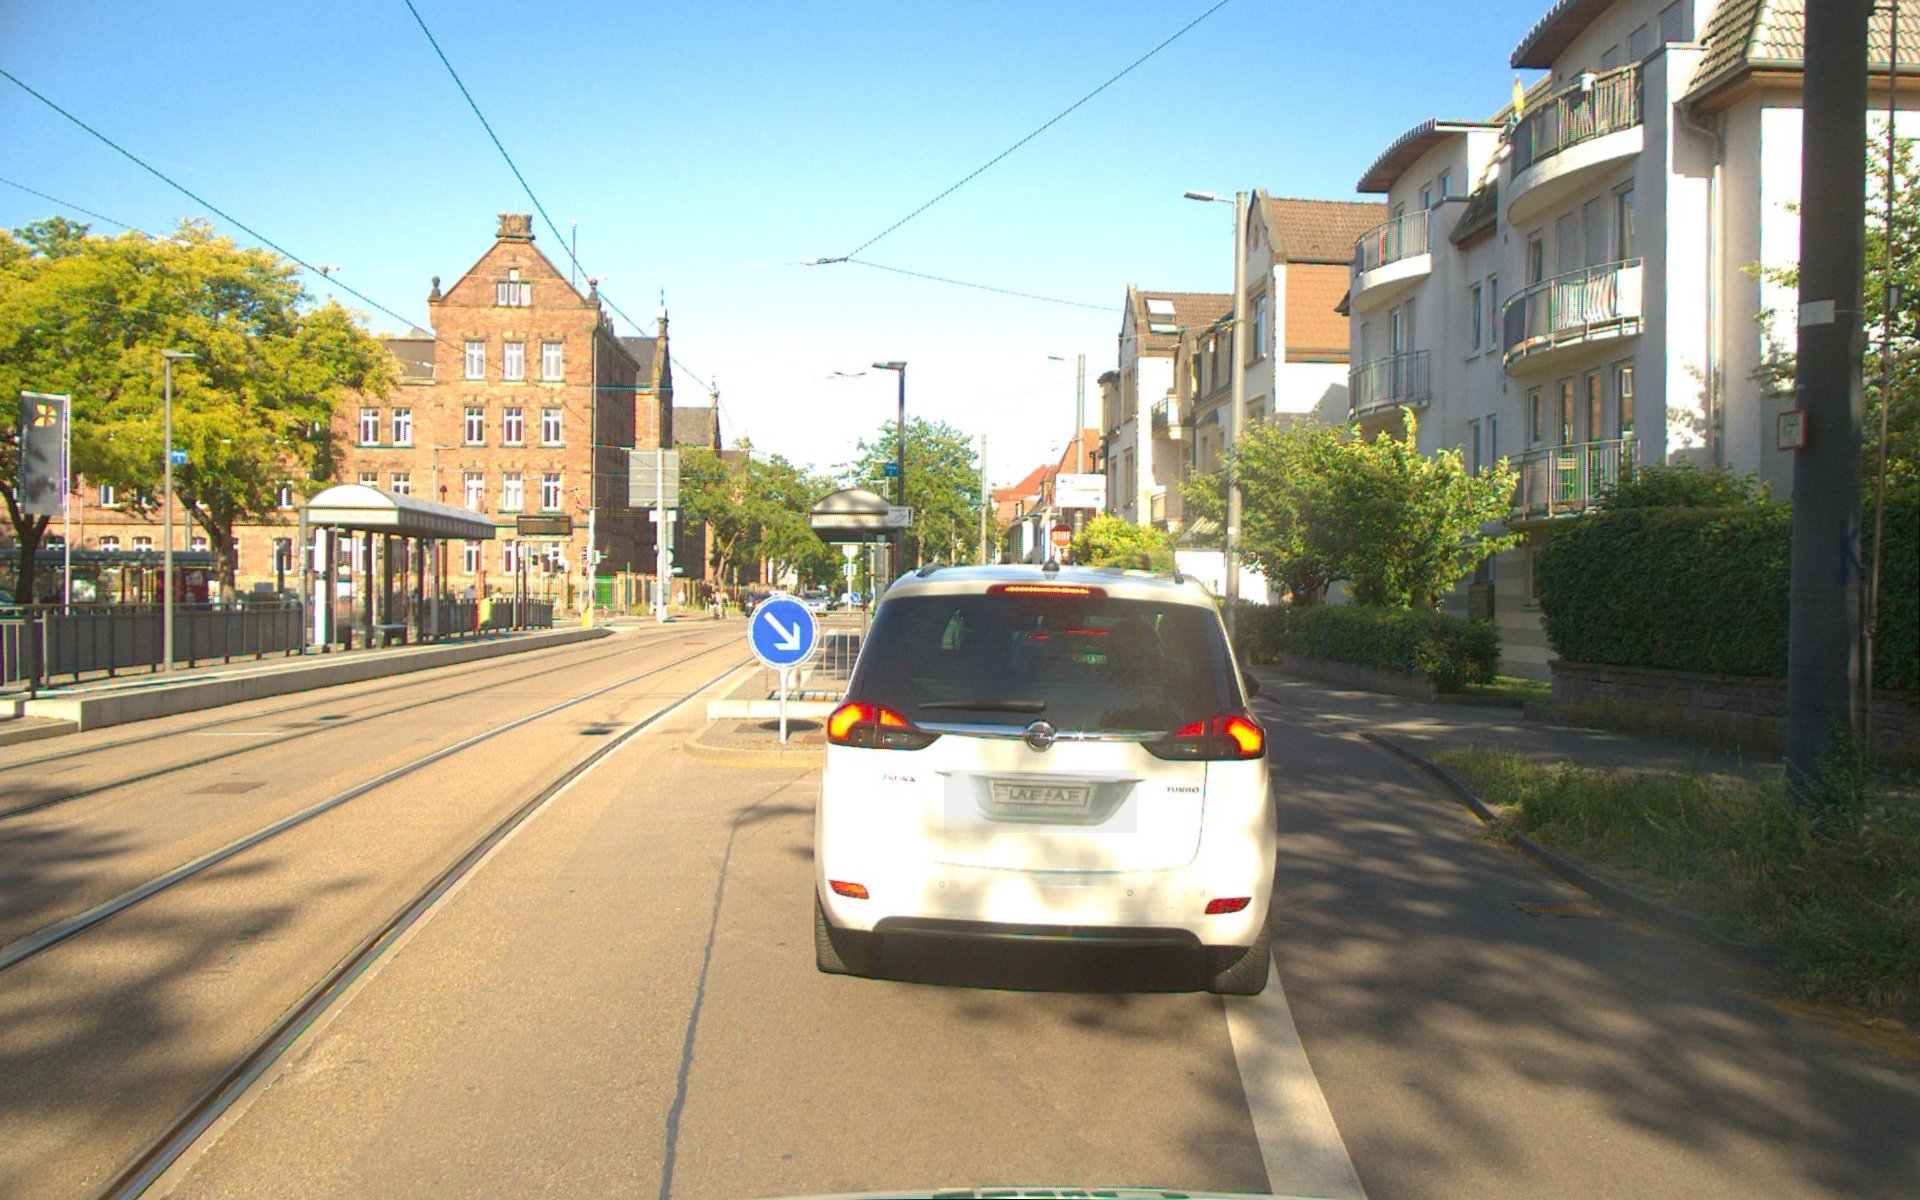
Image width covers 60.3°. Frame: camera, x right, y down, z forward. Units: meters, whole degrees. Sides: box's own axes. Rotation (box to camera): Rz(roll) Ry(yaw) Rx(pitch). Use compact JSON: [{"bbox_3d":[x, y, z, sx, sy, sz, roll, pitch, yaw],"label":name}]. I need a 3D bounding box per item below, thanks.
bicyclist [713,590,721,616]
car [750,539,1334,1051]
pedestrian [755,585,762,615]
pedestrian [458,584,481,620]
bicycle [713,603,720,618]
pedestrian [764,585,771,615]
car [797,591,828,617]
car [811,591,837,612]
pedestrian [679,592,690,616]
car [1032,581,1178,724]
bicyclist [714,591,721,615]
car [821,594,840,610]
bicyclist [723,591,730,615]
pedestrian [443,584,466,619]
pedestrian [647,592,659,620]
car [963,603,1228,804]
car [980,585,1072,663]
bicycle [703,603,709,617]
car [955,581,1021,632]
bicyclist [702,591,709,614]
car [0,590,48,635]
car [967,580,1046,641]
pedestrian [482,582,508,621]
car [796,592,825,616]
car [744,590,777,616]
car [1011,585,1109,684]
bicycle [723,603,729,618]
[{"bbox_3d":[-15.154,0.180,103.048,0.435,1.580,0.742,0,0,-4],"label":"bicyclist"},{"bbox_3d":[0.458,0.653,7.597,1.951,1.673,3.996,1,0,6],"label":"car"},{"bbox_3d":[-13.648,0.009,111.757,0.435,2.049,0.495,0,0,-4],"label":"pedestrian"},{"bbox_3d":[-22.292,0.094,75.171,0.786,1.616,0.934,1,0,-3],"label":"pedestrian"},{"bbox_3d":[-15.163,0.655,102.839,0.337,0.966,1.159,1,0,-4],"label":"bicycle"},{"bbox_3d":[-13.065,0.020,112.046,0.435,2.049,0.495,0,0,-4],"label":"pedestrian"},{"bbox_3d":[-9.547,0.247,107.160,1.955,1.657,3.996,0,0,-5],"label":"car"},{"bbox_3d":[-11.133,0.127,135.197,1.953,1.657,3.998,0,0,-3],"label":"car"},{"bbox_3d":[-20.756,0.313,124.756,0.720,1.744,0.753,1,-1,-6],"label":"pedestrian"},{"bbox_3d":[1.742,0.589,20.844,1.603,1.629,3.855,0,0,1],"label":"car"},{"bbox_3d":[-15.575,0.187,106.323,0.435,1.580,0.495,0,0,-4],"label":"bicyclist"},{"bbox_3d":[-13.429,0.227,171.721,1.955,1.657,3.984,0,0,-5],"label":"car"},{"bbox_3d":[-15.384,0.202,108.911,0.435,1.580,0.495,0,0,-4],"label":"bicyclist"},{"bbox_3d":[-23.901,0.085,78.205,0.786,1.616,0.934,1,0,-3],"label":"pedestrian"},{"bbox_3d":[-19.536,0.394,105.321,0.720,1.744,0.705,1,-1,-8],"label":"pedestrian"},{"bbox_3d":[1.033,0.753,13.985,1.912,1.422,4.001,0,0,1],"label":"car"},{"bbox_3d":[1.380,0.496,36.191,1.793,1.607,4.009,0,0,-1],"label":"car"},{"bbox_3d":[-17.656,0.662,114.859,0.337,0.966,0.996,1,0,-4],"label":"bicycle"},{"bbox_3d":[0.830,0.195,51.768,1.953,1.529,3.999,0,0,-1],"label":"car"},{"bbox_3d":[-17.650,0.187,114.822,0.435,1.580,0.495,0,0,-4],"label":"bicyclist"},{"bbox_3d":[-45.287,0.538,74.429,6.810,1.954,2.991,0,0,-2],"label":"car"},{"bbox_3d":[1.201,0.261,44.313,1.953,1.529,3.999,0,0,-1],"label":"car"},{"bbox_3d":[-20.772,0.072,73.881,0.877,1.713,1.029,1,0,-1],"label":"pedestrian"},{"bbox_3d":[-10.352,0.263,114.254,1.955,1.657,3.996,0,0,-5],"label":"car"},{"bbox_3d":[-12.857,0.198,106.887,1.955,1.657,3.996,0,0,-5],"label":"car"},{"bbox_3d":[1.715,0.555,29.272,1.603,1.629,3.855,0,0,1],"label":"car"},{"bbox_3d":[-15.394,0.676,108.918,0.337,0.966,0.996,1,0,-4],"label":"bicycle"}]
